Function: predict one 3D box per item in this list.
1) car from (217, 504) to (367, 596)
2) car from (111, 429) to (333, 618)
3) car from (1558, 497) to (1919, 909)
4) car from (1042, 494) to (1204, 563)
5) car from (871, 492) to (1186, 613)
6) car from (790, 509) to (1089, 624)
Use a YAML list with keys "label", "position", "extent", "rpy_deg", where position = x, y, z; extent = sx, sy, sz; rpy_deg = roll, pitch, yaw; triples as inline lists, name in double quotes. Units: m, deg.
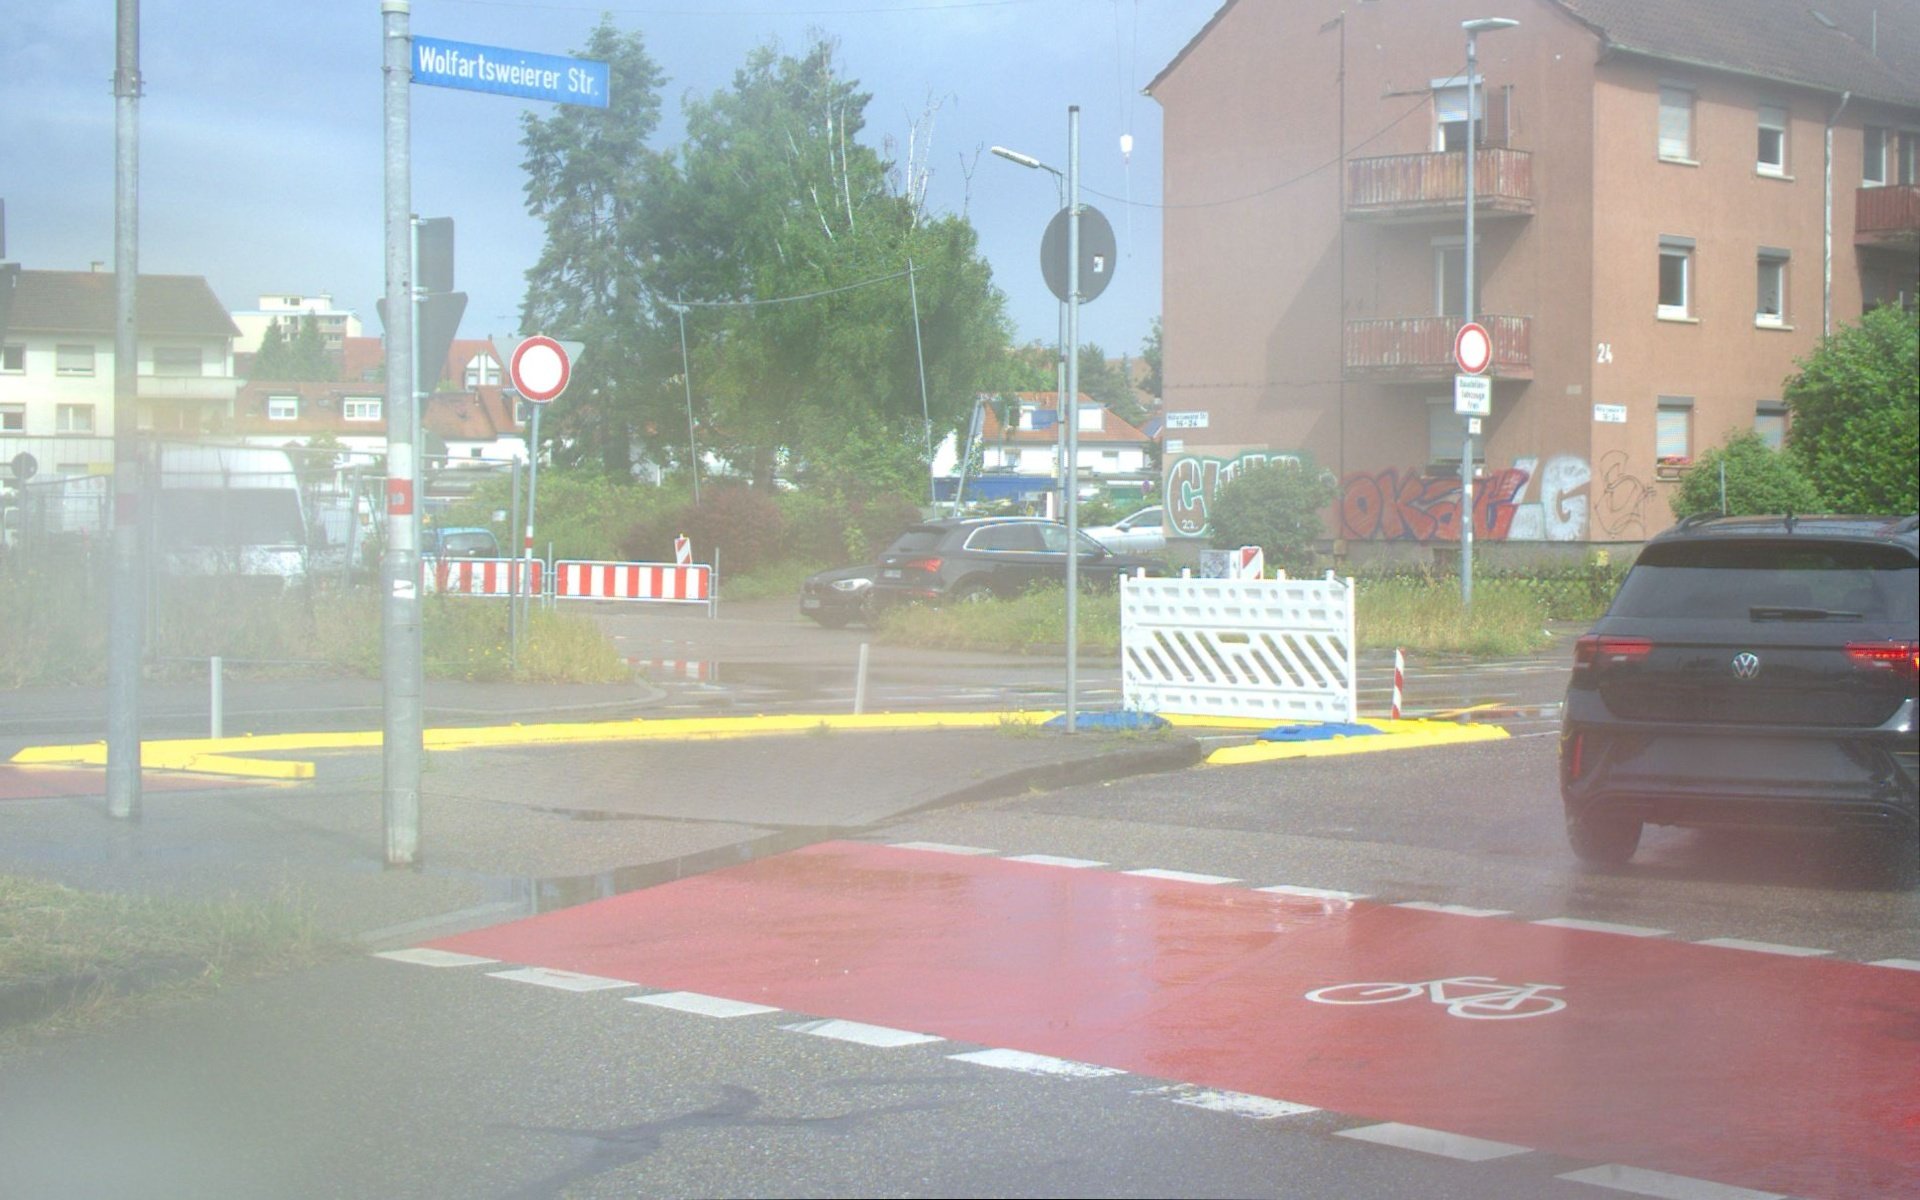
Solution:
- label: "car"
  position: [-15.836, -1.209, 81.372]
  extent: [1.994, 2.116, 4.000]
  rpy_deg: [-1, 2, -35]
- label: "car"
  position: [-9.379, -1.031, 43.277]
  extent: [2.036, 2.077, 6.269]
  rpy_deg: [0, 4, -18]
- label: "car"
  position: [4.033, 0.351, 15.666]
  extent: [1.899, 1.612, 3.996]
  rpy_deg: [1, 2, 20]
- label: "car"
  position: [3.687, -1.625, 77.625]
  extent: [3.511, 1.514, 1.616]
  rpy_deg: [1, 1, 8]
- label: "car"
  position: [0.930, -0.661, 47.498]
  extent: [4.044, 1.627, 1.617]
  rpy_deg: [0, 2, -15]
- label: "car"
  position: [-0.314, -0.493, 49.827]
  extent: [4.044, 1.627, 1.617]
  rpy_deg: [0, 2, -15]
